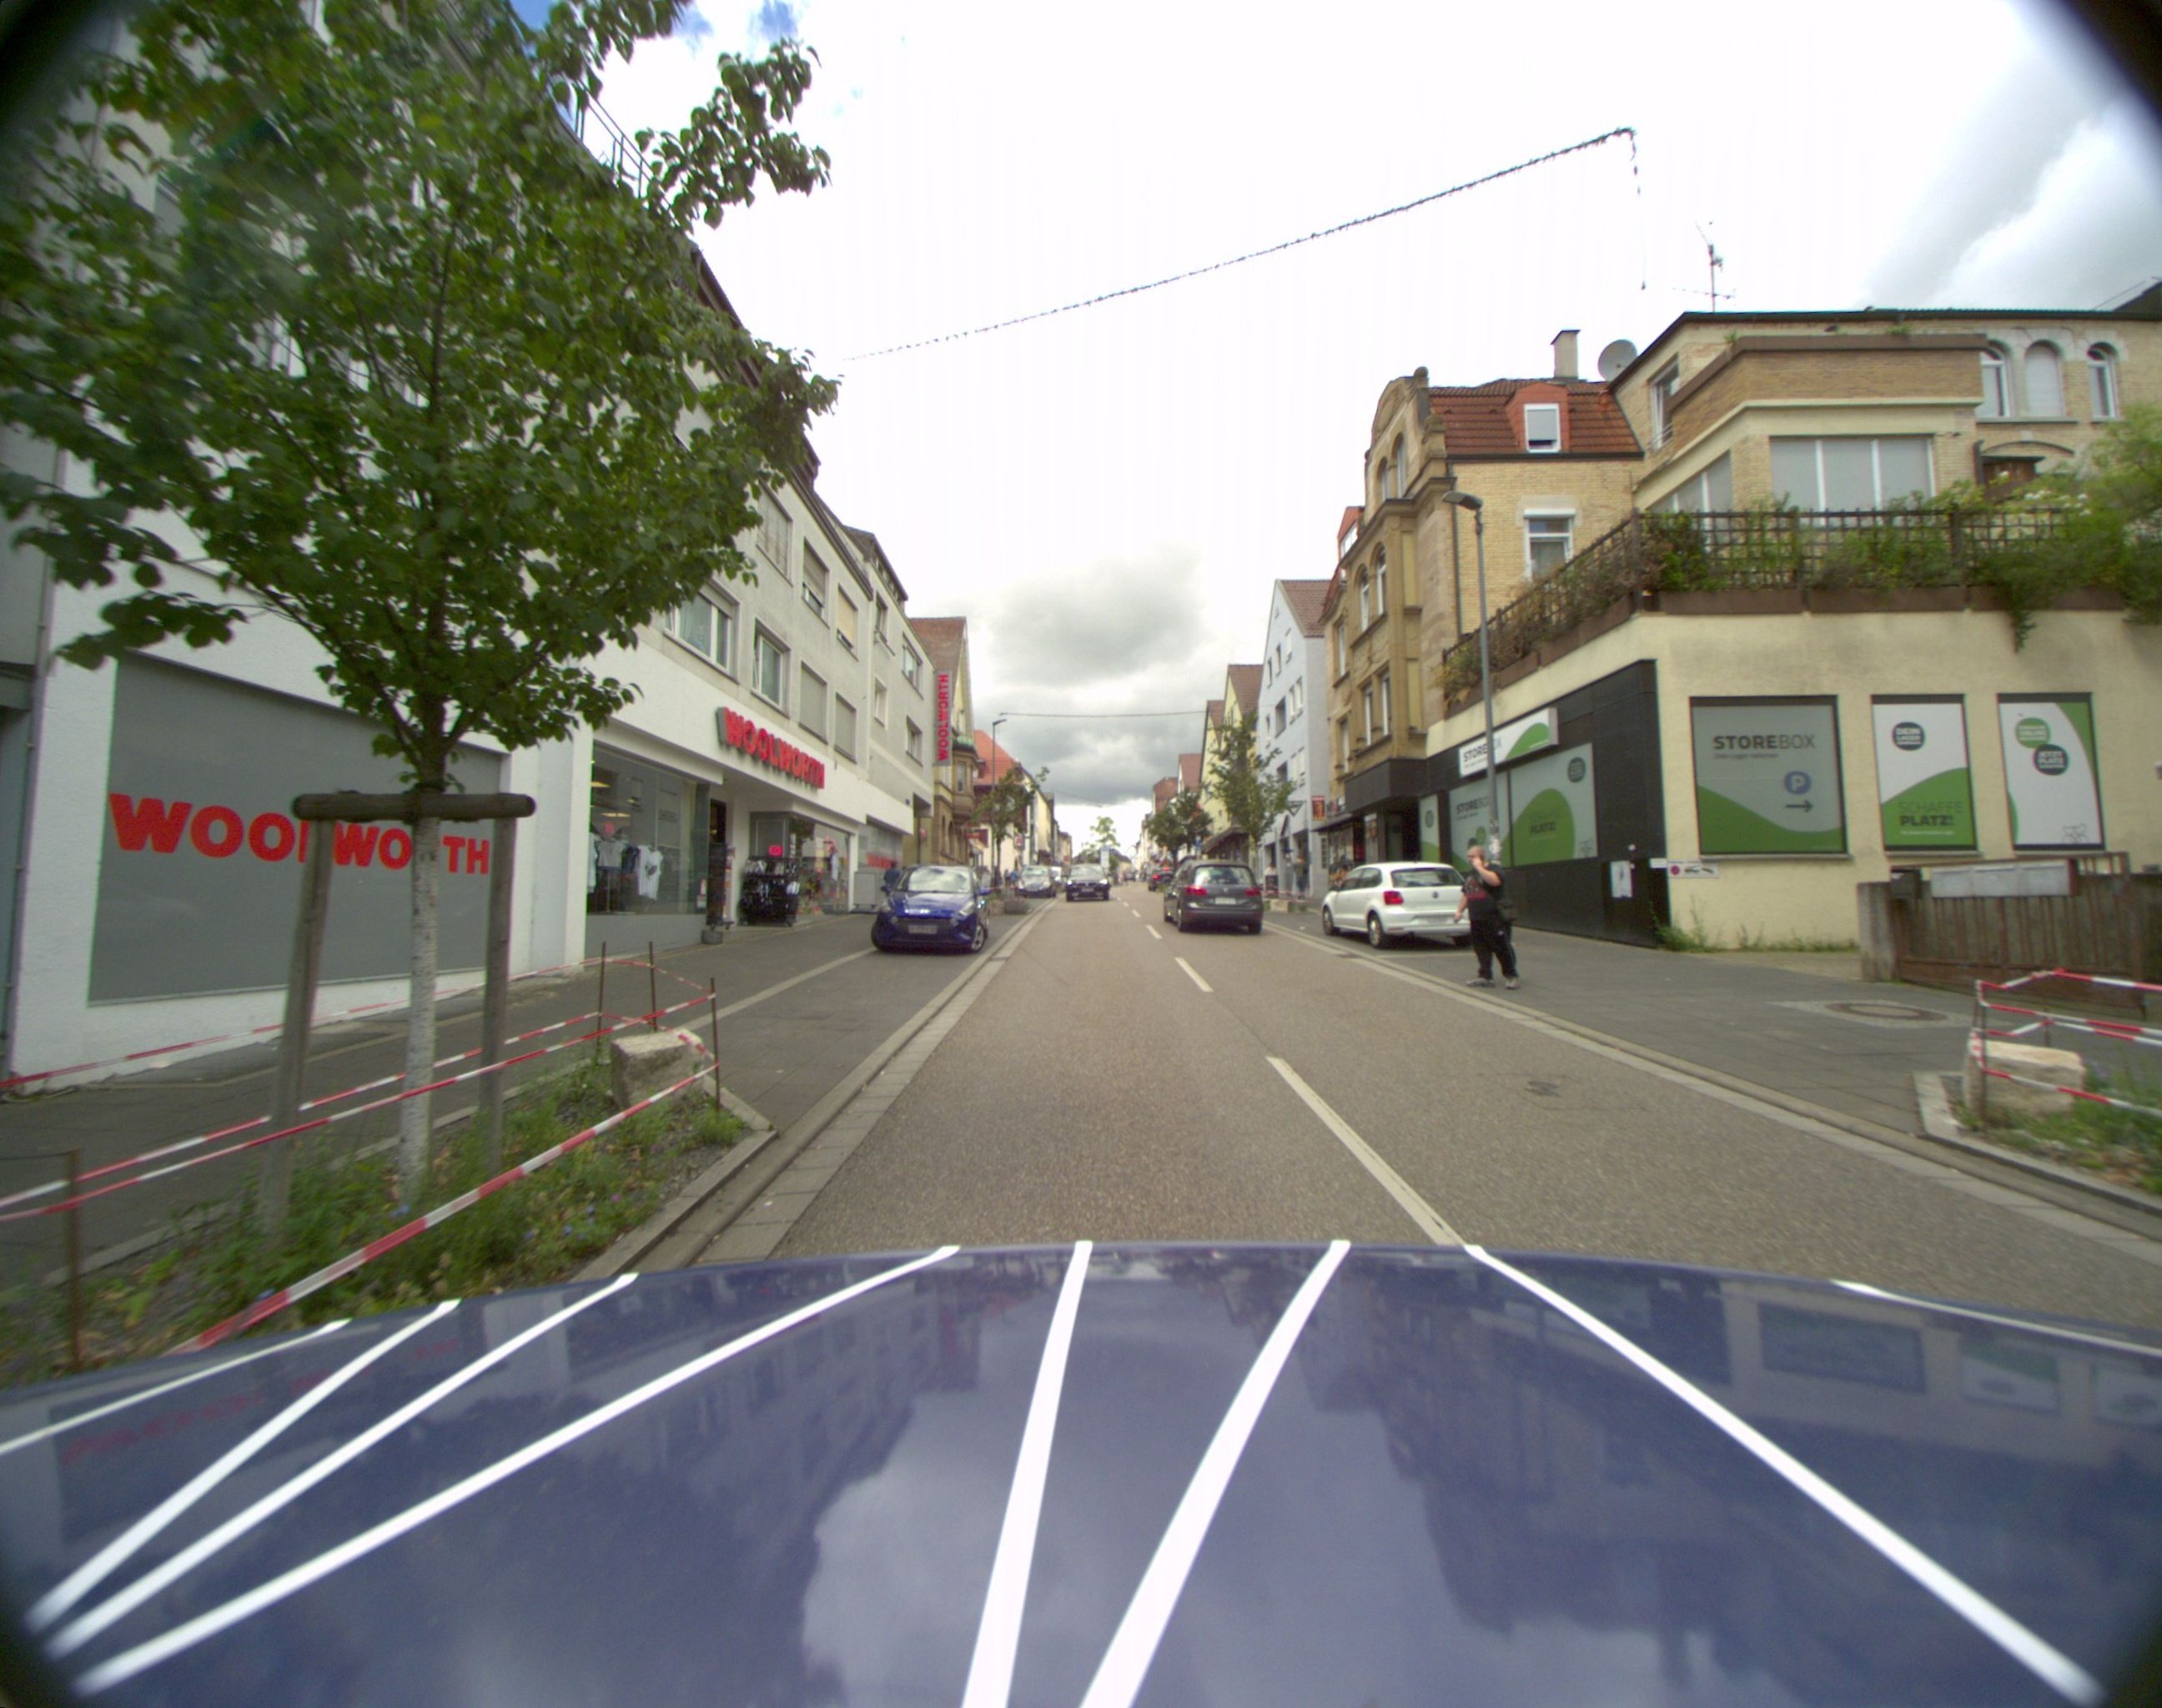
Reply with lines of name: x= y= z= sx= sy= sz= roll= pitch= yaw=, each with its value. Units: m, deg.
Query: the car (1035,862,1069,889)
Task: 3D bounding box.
car: x=-1.997 y=1.494 z=53.499 sx=1.881 sy=1.788 sz=4.734 roll=-1 pitch=-1 yaw=4

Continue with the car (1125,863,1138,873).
car: x=8.317 y=2.275 z=124.684 sx=1.968 sy=1.611 sz=4.356 roll=-2 pitch=0 yaw=3

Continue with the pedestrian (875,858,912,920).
pedestrian: x=-4.811 y=0.884 z=19.523 sx=0.758 sy=1.551 sz=0.817 roll=0 pitch=-1 yaw=-2

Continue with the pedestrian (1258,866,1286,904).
pedestrian: x=7.552 y=1.208 z=30.117 sx=0.828 sy=1.454 sz=0.810 roll=-3 pitch=0 yaw=0

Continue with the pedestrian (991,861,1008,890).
pedestrian: x=-4.682 y=1.252 z=43.666 sx=0.825 sy=1.656 sz=0.802 roll=-1 pitch=-1 yaw=7

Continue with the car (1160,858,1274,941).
car: x=2.962 y=0.933 z=17.403 sx=1.823 sy=1.608 sz=4.136 roll=1 pitch=0 yaw=0

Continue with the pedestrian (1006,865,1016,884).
pedestrian: x=-6.303 y=1.837 z=68.108 sx=0.776 sy=1.758 sz=0.818 roll=-1 pitch=-1 yaw=2

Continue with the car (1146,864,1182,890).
car: x=5.861 y=1.660 z=53.865 sx=2.012 sy=1.683 sz=4.608 roll=-2 pitch=-2 yaw=0

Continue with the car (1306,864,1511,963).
car: x=5.866 y=0.997 z=14.276 sx=1.931 sy=1.502 sz=4.262 roll=-3 pitch=-1 yaw=-1

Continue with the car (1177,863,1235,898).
car: x=5.949 y=1.252 z=36.711 sx=1.931 sy=1.483 sz=4.843 roll=-3 pitch=-1 yaw=-1

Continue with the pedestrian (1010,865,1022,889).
pedestrian: x=-4.808 y=1.708 z=56.489 sx=0.798 sy=1.716 sz=1.053 roll=0 pitch=-1 yaw=1

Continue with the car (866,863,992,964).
car: x=-2.622 y=0.972 z=13.941 sx=1.753 sy=1.489 sz=3.798 roll=2 pitch=0 yaw=-4

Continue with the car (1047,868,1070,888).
car: x=-1.731 y=1.840 z=58.271 sx=1.707 sy=1.458 sz=4.000 roll=0 pitch=-1 yaw=-2

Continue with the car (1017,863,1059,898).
car: x=-2.058 y=1.282 z=37.569 sx=1.752 sy=1.598 sz=3.801 roll=1 pitch=-1 yaw=1

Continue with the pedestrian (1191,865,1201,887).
pedestrian: x=9.097 y=1.750 z=60.028 sx=0.638 sy=1.728 sz=0.836 roll=1 pitch=-1 yaw=-2

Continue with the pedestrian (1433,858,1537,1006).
pedestrian: x=4.774 y=0.889 z=9.033 sx=0.739 sy=1.662 sz=0.863 roll=-1 pitch=0 yaw=-2

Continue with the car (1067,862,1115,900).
car: x=0.392 y=1.126 z=33.156 sx=1.914 sy=1.559 sz=4.372 roll=-1 pitch=-1 yaw=-1

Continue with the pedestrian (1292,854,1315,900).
pedestrian: x=8.402 y=0.871 z=28.661 sx=0.588 sy=1.703 sz=0.710 roll=-3 pitch=0 yaw=0
